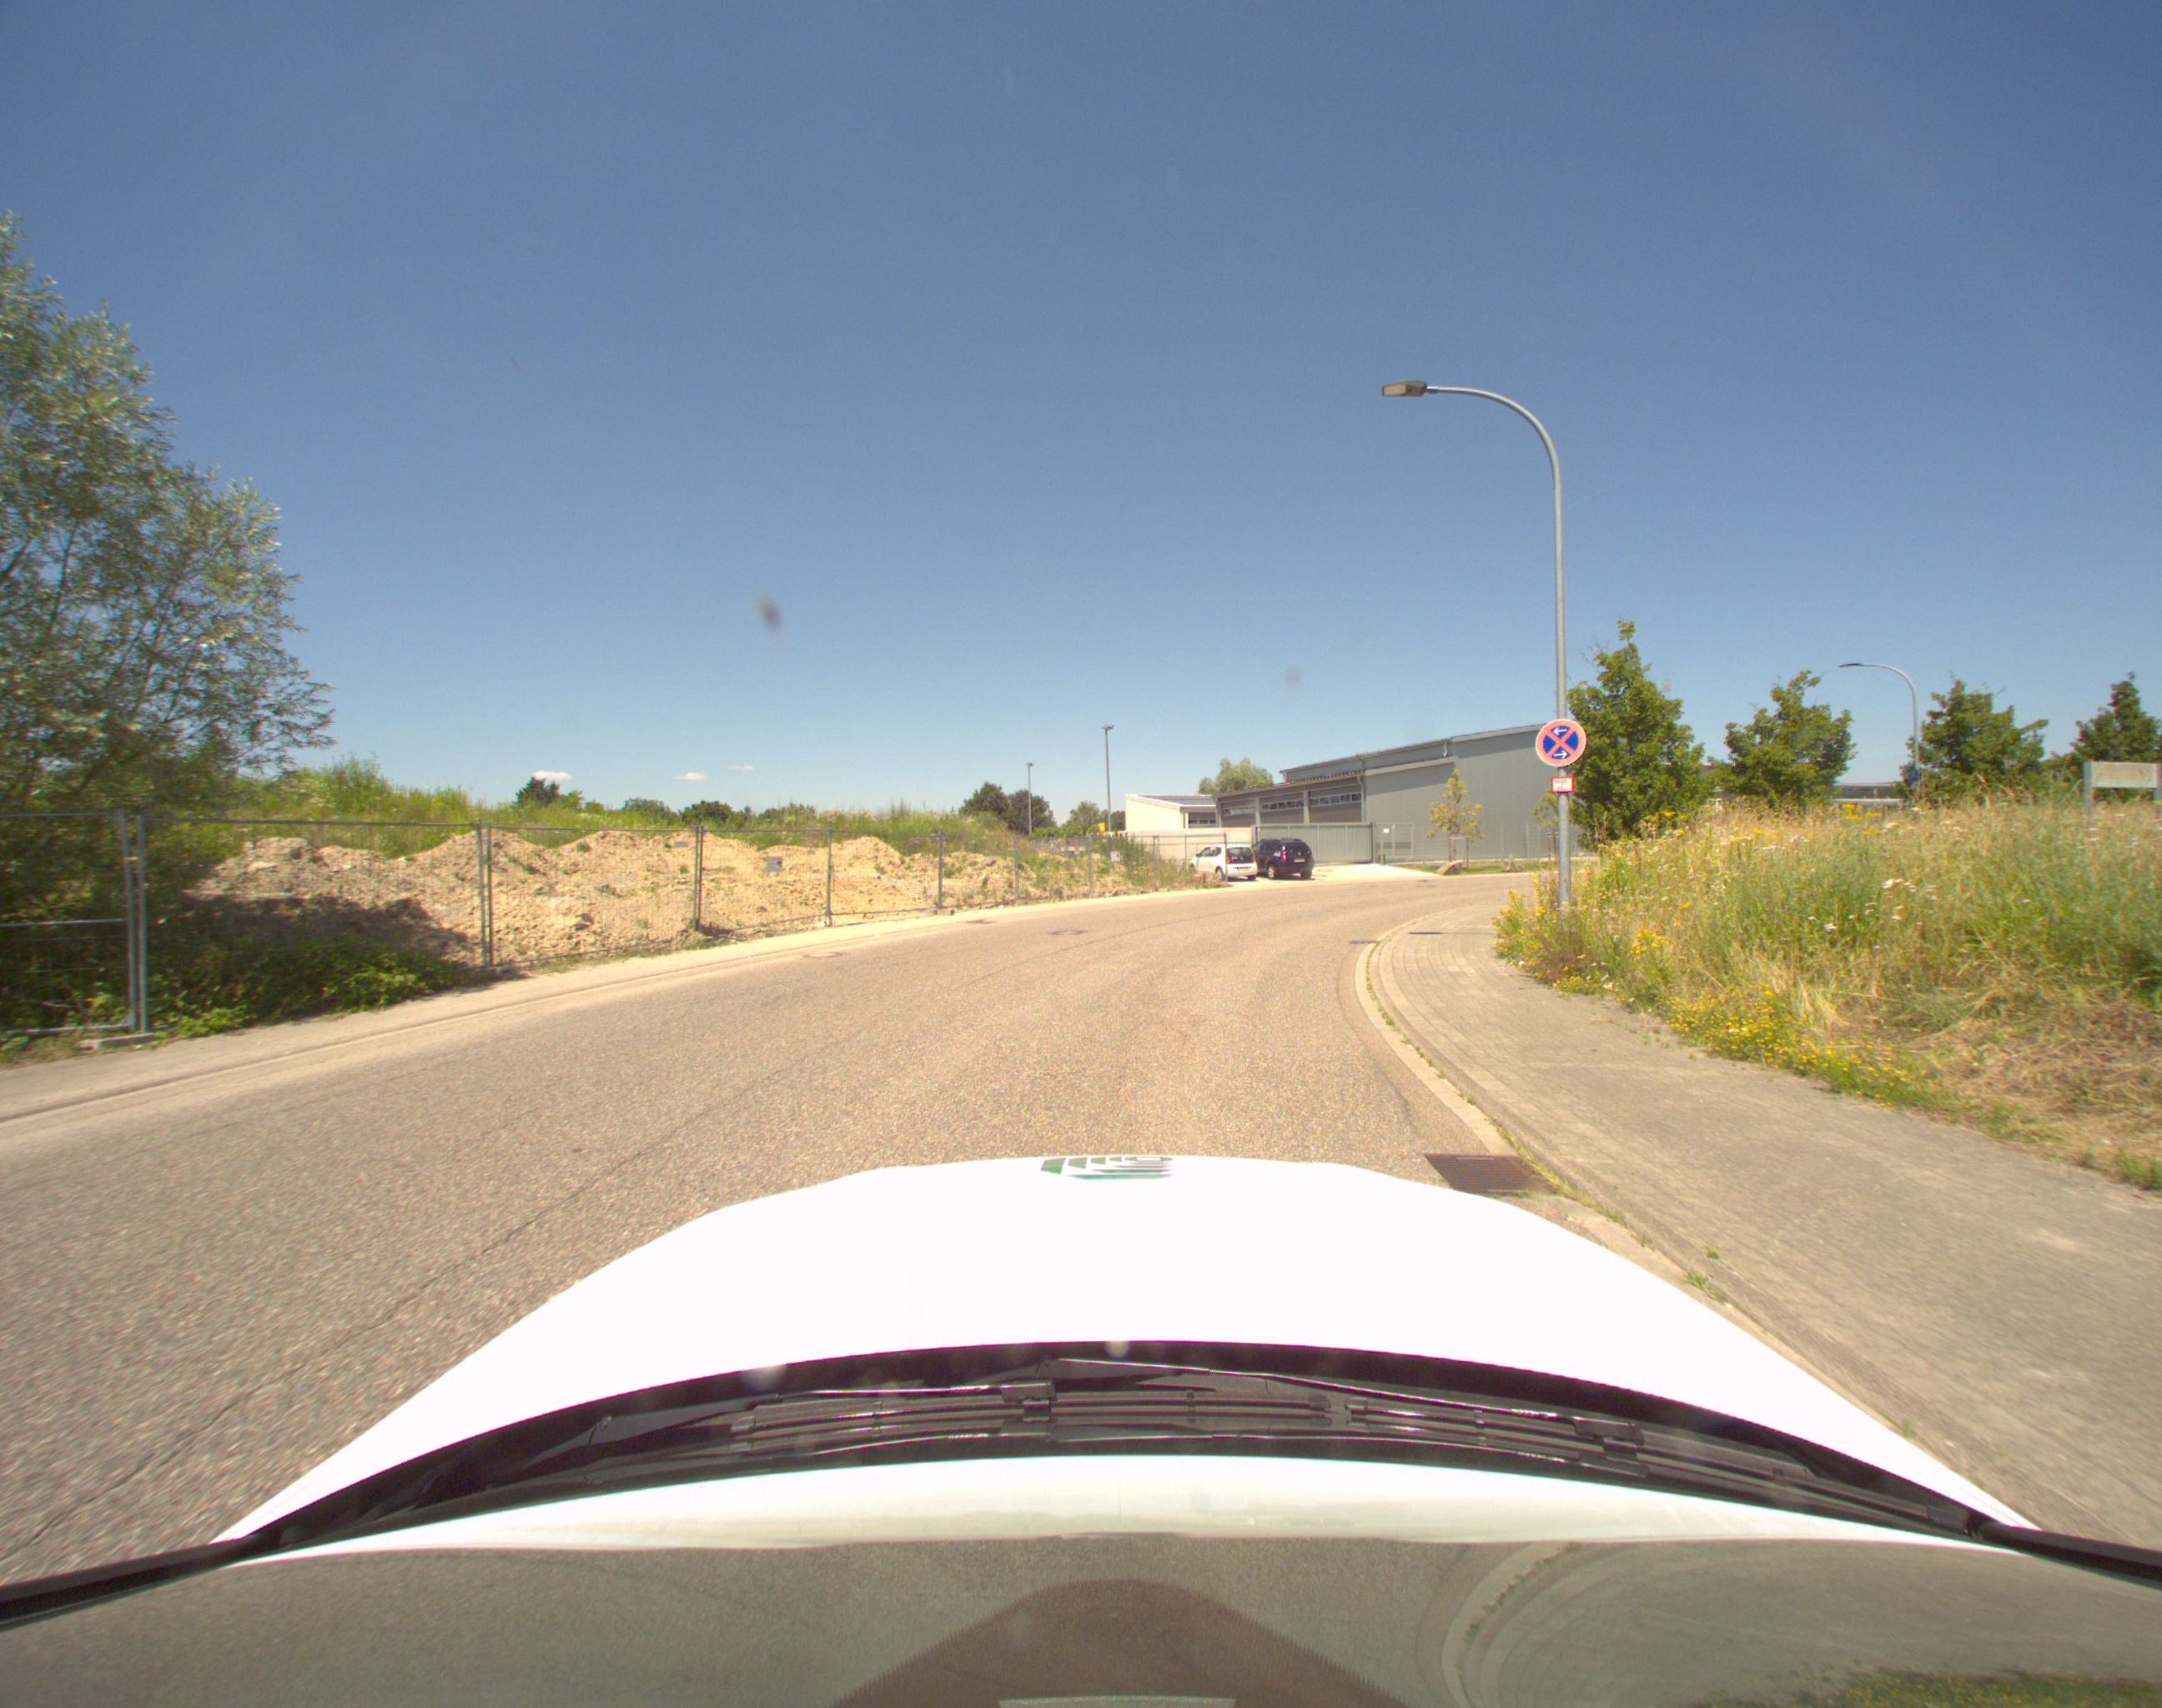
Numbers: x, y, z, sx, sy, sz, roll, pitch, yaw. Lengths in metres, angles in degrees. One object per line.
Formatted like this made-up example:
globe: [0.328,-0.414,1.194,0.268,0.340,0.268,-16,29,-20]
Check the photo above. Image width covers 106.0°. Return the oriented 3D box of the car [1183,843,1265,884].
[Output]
car: [5.927,0.348,34.182,1.789,1.498,3.679,-2,3,-20]

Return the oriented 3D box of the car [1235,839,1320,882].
car: [8.291,0.222,34.722,1.800,1.608,3.679,-2,3,-20]

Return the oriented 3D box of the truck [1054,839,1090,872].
truck: [-0.901,0.171,77.283,2.000,2.984,4.615,-2,0,-19]
